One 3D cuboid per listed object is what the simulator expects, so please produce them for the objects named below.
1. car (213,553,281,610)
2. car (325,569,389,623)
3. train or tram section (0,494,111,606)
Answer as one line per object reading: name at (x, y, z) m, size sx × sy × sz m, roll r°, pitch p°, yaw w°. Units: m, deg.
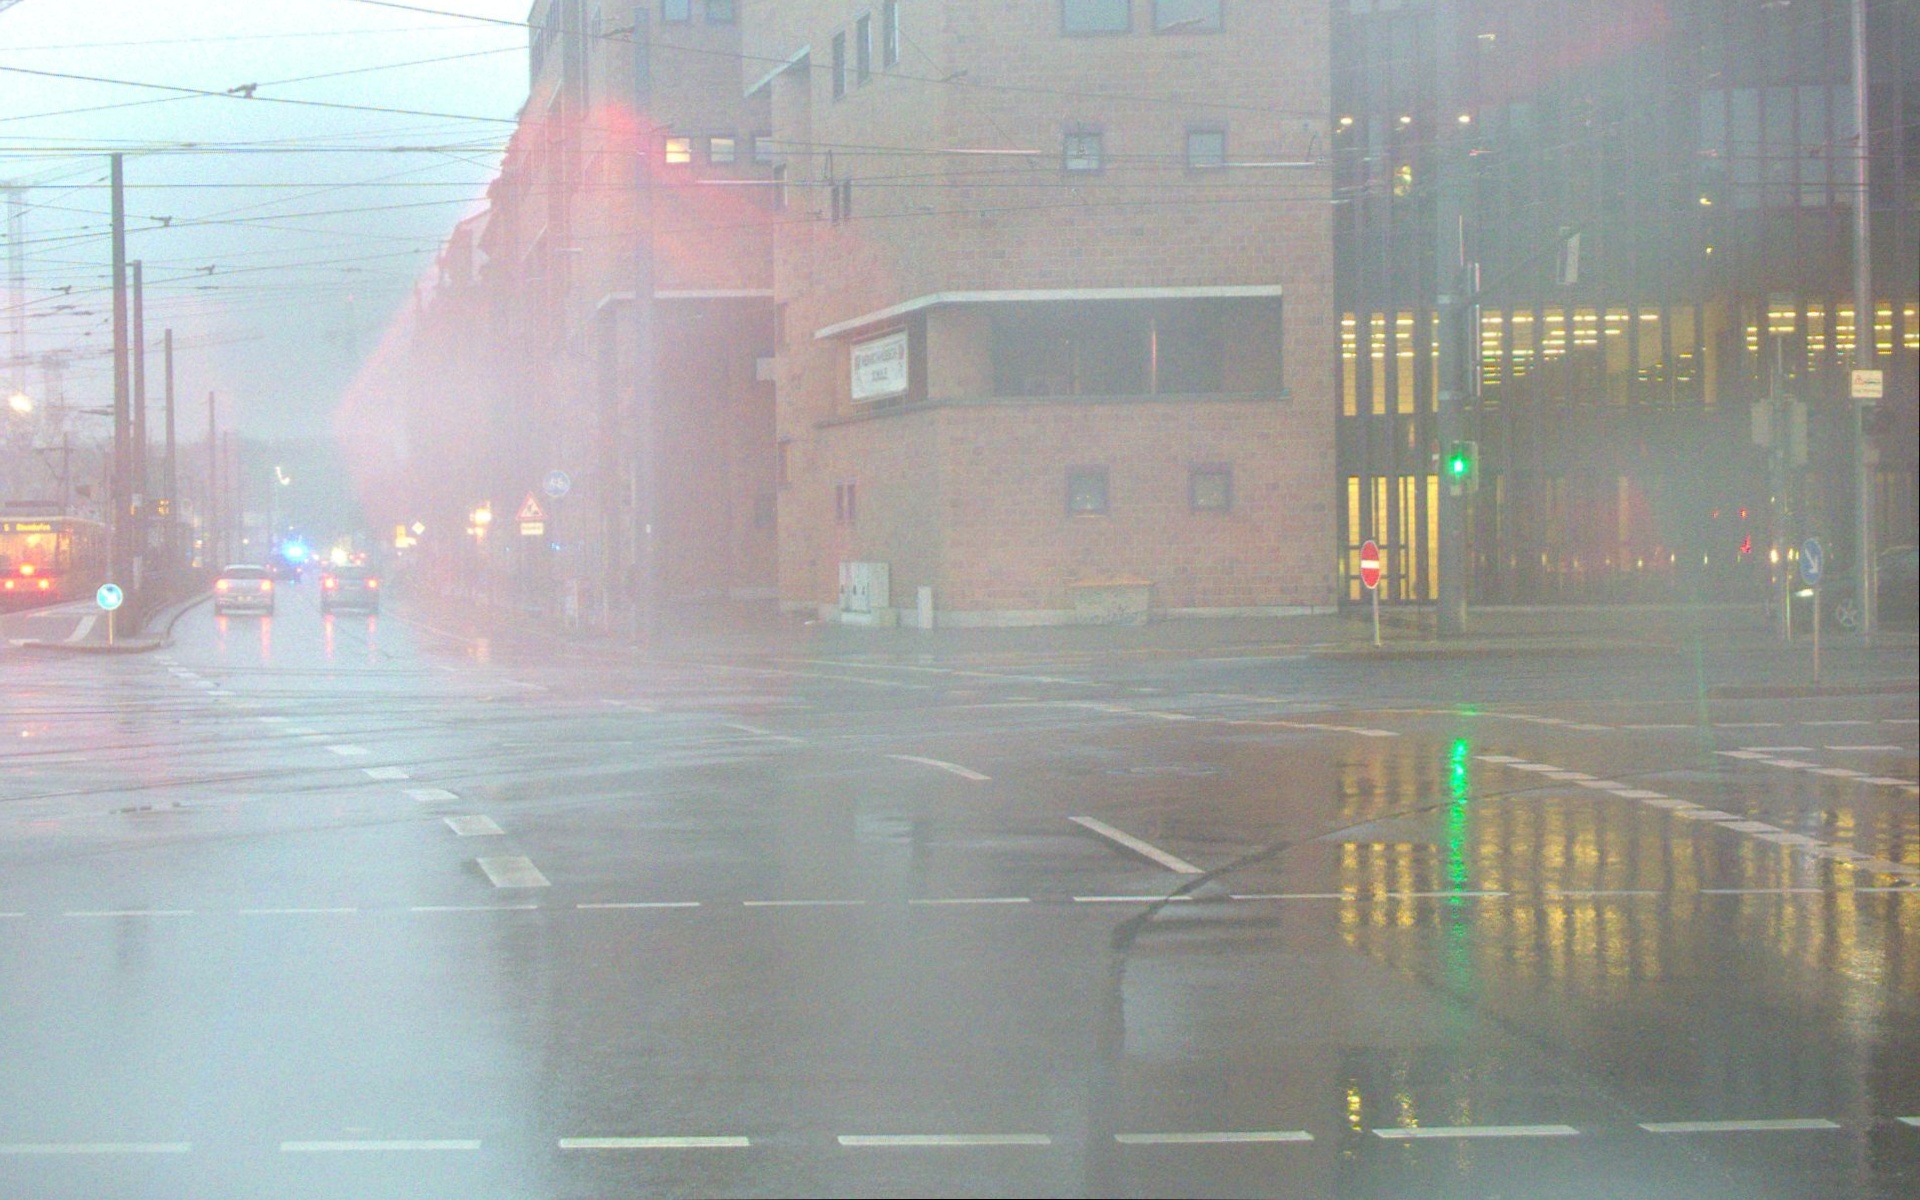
car at (-21.244, -0.567, 102.522) m, size 1.870 × 1.573 × 4.001 m, roll 1°, pitch 1°, yaw -10°
car at (-19.185, -0.138, 109.421) m, size 1.870 × 1.573 × 4.001 m, roll 1°, pitch 1°, yaw -9°
train or tram section at (-32.159, -1.718, 119.837) m, size 3.190 × 3.424 × 27.839 m, roll -1°, pitch 1°, yaw -10°
